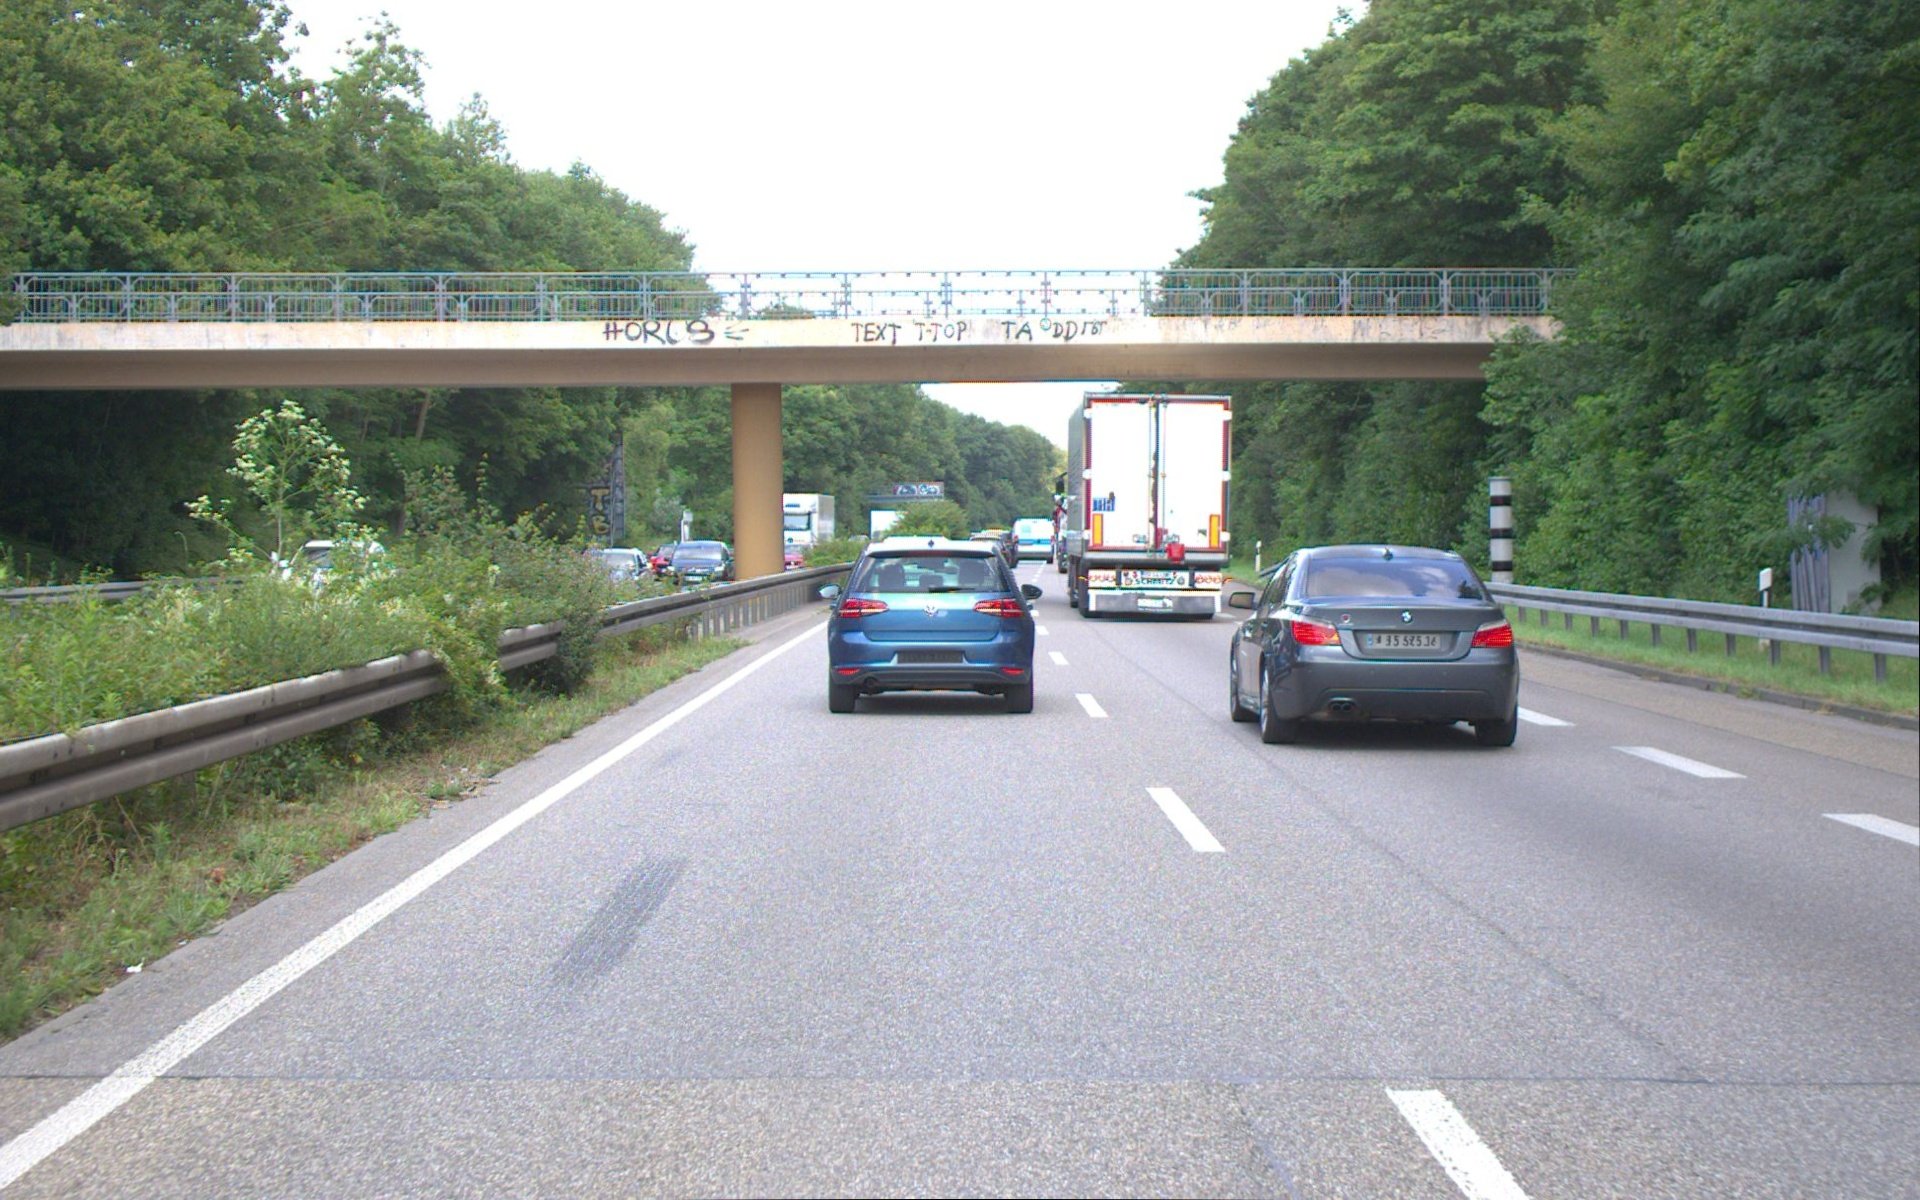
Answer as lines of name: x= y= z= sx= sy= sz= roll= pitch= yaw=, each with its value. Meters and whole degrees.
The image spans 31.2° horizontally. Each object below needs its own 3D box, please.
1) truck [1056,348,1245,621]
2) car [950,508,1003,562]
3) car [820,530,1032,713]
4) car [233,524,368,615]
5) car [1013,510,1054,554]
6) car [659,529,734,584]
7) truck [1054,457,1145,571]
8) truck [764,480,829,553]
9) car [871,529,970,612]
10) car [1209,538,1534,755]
truck: x=3.482 y=-2.123 z=65.119 sx=3.242 sy=4.700 sz=11.006 roll=0 pitch=1 yaw=2
car: x=0.632 y=-2.458 z=130.363 sx=1.954 sy=2.007 sz=4.000 roll=-1 pitch=1 yaw=1
car: x=-0.234 y=0.139 z=30.119 sx=1.705 sy=1.465 sz=4.000 roll=1 pitch=1 yaw=1
car: x=-13.036 y=-0.633 z=68.236 sx=1.786 sy=1.732 sz=4.881 roll=-1 pitch=1 yaw=-1
car: x=3.779 y=-3.525 z=177.383 sx=1.993 sy=2.247 sz=4.442 roll=0 pitch=1 yaw=-1
car: x=-7.794 y=-1.312 z=102.038 sx=1.865 sy=1.583 sz=4.565 roll=-1 pitch=1 yaw=0
truck: x=5.562 y=-3.390 z=139.384 sx=3.232 sy=4.371 sz=12.970 roll=1 pitch=0 yaw=0
truck: x=-9.094 y=-4.642 z=191.900 sx=3.040 sy=3.973 sz=6.748 roll=0 pitch=1 yaw=2
car: x=-0.719 y=-0.572 z=65.025 sx=1.665 sy=1.495 sz=4.152 roll=1 pitch=1 yaw=2
car: x=3.020 y=0.277 z=26.213 sx=1.774 sy=1.470 sz=4.881 roll=1 pitch=1 yaw=-1
